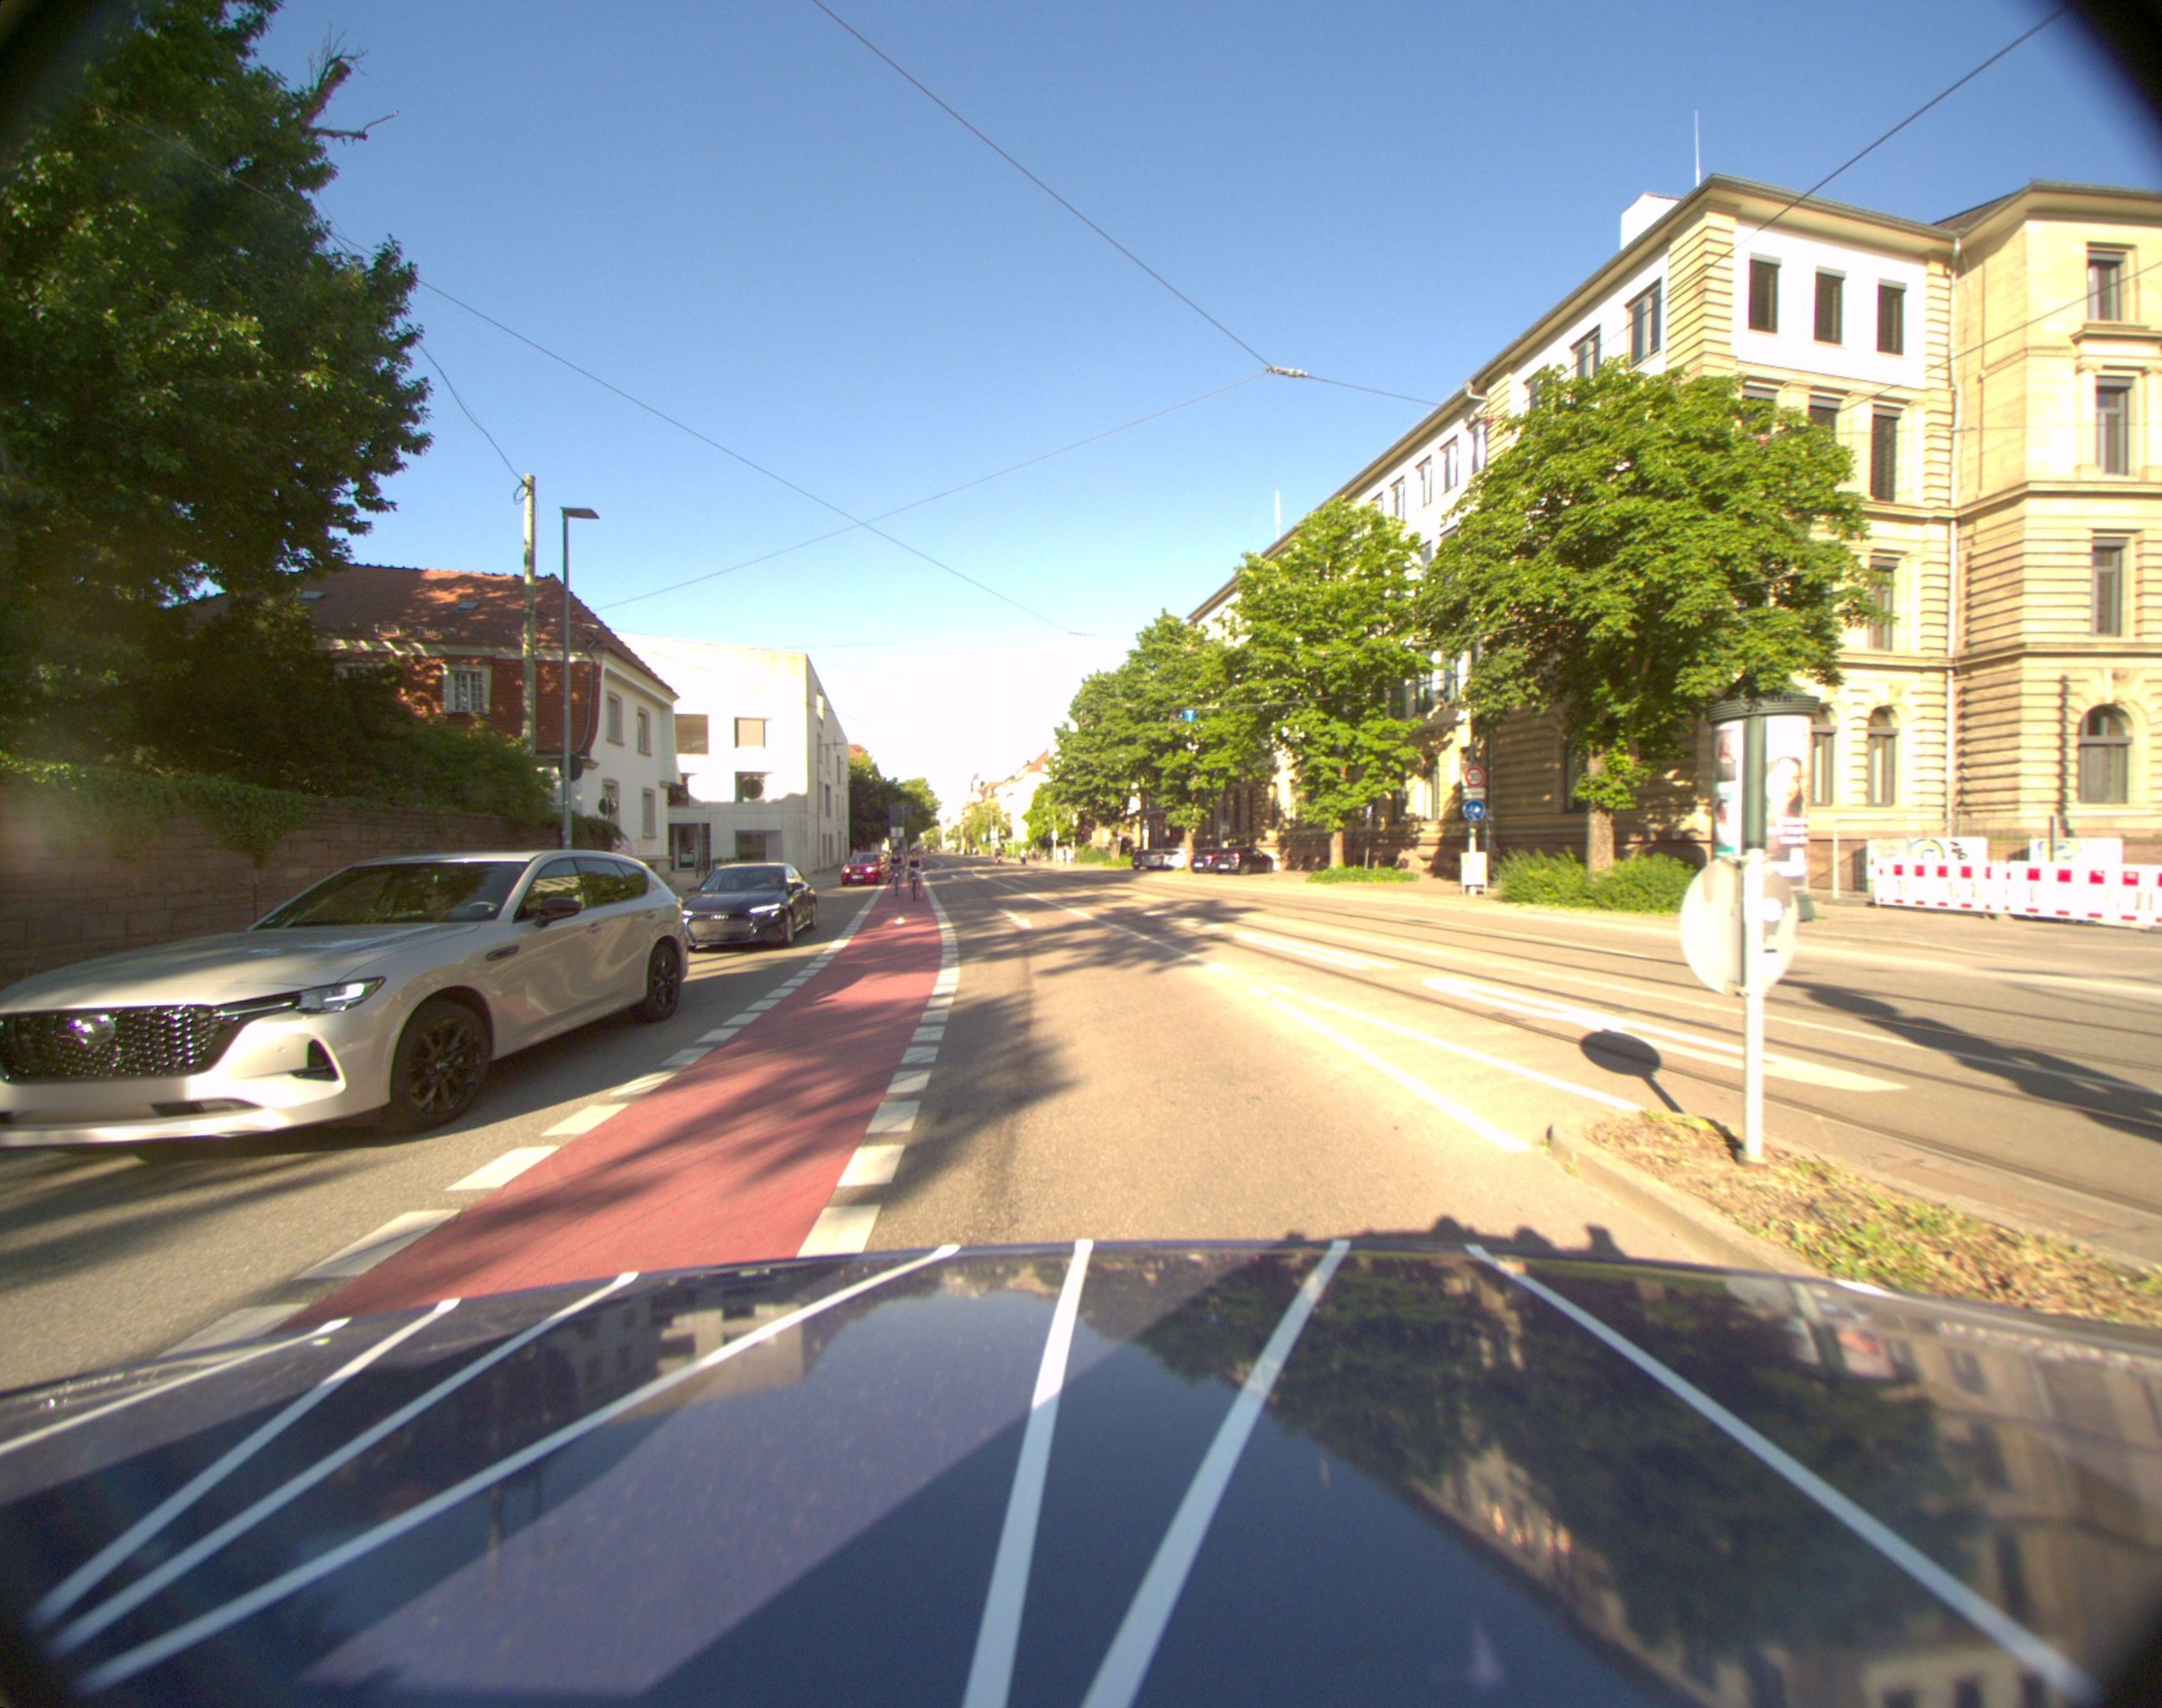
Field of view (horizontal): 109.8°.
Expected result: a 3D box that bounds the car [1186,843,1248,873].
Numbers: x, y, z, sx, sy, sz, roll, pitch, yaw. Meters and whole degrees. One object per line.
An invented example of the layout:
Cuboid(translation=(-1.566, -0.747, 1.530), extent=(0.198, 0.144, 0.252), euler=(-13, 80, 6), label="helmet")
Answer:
Cuboid(translation=(7.889, 0.203, 43.958), extent=(3.657, 1.552, 1.645), euler=(-3, 2, -45), label="car")

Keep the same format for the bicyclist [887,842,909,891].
Cuboid(translation=(-6.273, 0.410, 26.072), extent=(0.676, 1.638, 1.028), euler=(0, 1, -10), label="bicyclist")

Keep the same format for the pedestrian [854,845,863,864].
Cuboid(translation=(-19.223, 0.045, 65.639), extent=(0.676, 1.638, 0.817), euler=(-1, 1, -11), label="pedestrian")

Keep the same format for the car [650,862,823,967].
Cuboid(translation=(-5.911, 0.935, 13.564), extent=(1.789, 1.425, 3.996), euler=(-2, 1, -10), label="car")

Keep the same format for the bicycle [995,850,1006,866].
Cuboid(translation=(-6.462, 0.275, 60.980), extent=(0.676, 1.243, 2.454), euler=(0, 1, -10), label="bicycle")

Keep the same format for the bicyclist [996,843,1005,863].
Cuboid(translation=(-6.468, -0.072, 61.013), extent=(0.676, 1.638, 1.028), euler=(0, 1, -10), label="bicyclist")

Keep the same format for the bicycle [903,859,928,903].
Cuboid(translation=(-5.131, 0.806, 23.679), extent=(0.676, 1.243, 2.454), euler=(0, 1, -10), label="bicycle")

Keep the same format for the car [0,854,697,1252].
Cuboid(translation=(-4.859, 0.909, 5.668), extent=(1.946, 1.682, 4.528), euler=(-2, 1, -5), label="car")

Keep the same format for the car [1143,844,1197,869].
Cuboid(translation=(6.087, 0.182, 51.841), extent=(3.657, 1.552, 1.645), euler=(-3, 2, -45), label="car")

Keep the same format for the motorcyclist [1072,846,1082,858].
Cuboid(translation=(-0.411, -0.255, 79.113), extent=(0.854, 1.243, 0.675), euler=(-1, 1, -12), label="motorcyclist")

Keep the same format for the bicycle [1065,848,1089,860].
Cuboid(translation=(-0.394, 0.018, 79.122), extent=(2.457, 1.243, 0.675), euler=(0, 1, -12), label="bicycle")

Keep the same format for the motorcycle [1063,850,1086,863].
Cuboid(translation=(-0.691, 0.282, 79.181), extent=(2.264, 1.285, 0.680), euler=(-2, 1, -3), label="motorcycle")

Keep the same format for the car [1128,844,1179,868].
Cuboid(translation=(5.286, 0.145, 55.223), extent=(3.657, 1.552, 1.645), euler=(-3, 2, -45), label="car")

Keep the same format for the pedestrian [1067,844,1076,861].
Cuboid(translation=(-0.940, -0.139, 73.545), extent=(0.676, 1.638, 0.817), euler=(-1, 1, -11), label="pedestrian")

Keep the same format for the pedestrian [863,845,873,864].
Cuboid(translation=(-18.473, 0.006, 65.924), extent=(0.676, 1.638, 0.817), euler=(-1, 1, -11), label="pedestrian")

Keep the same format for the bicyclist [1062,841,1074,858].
Cuboid(translation=(-1.303, -0.451, 77.385), extent=(1.030, 1.638, 0.674), euler=(-1, 1, -17), label="bicyclist")

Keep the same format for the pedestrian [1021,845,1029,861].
Cuboid(translation=(-5.712, -0.074, 77.686), extent=(0.675, 1.638, 0.817), euler=(-1, 1, -2), label="pedestrian")

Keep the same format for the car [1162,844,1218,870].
Cuboid(translation=(7.148, 0.186, 49.648), extent=(3.657, 1.552, 1.645), euler=(-3, 2, -45), label="car")

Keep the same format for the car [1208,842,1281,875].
Cuboid(translation=(8.951, 0.226, 41.336), extent=(4.189, 1.621, 1.841), euler=(-3, 2, -45), label="car")

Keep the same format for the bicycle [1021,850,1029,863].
Cuboid(translation=(-5.702, 0.259, 77.729), extent=(0.676, 1.243, 2.456), euler=(-1, 1, -2), label="bicycle")

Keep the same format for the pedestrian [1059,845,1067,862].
Cuboid(translation=(-1.749, -0.083, 73.301), extent=(0.676, 1.638, 0.817), euler=(-1, 1, -11), label="pedestrian")

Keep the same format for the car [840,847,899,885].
Cuboid(translation=(-9.505, 0.515, 34.425), extent=(1.649, 1.552, 3.649), euler=(-2, 1, -1), label="car")

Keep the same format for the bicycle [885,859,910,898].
Cuboid(translation=(-6.266, 0.810, 26.059), extent=(0.676, 1.243, 2.454), euler=(0, 1, -10), label="bicycle")

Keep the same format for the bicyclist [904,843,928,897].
Cuboid(translation=(-5.140, 0.476, 23.676), extent=(0.676, 1.638, 1.028), euler=(0, 1, -10), label="bicyclist")

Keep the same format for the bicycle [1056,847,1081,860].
Cuboid(translation=(-1.318, -0.039, 77.402), extent=(2.458, 1.243, 0.675), euler=(-1, 1, -18), label="bicycle")
